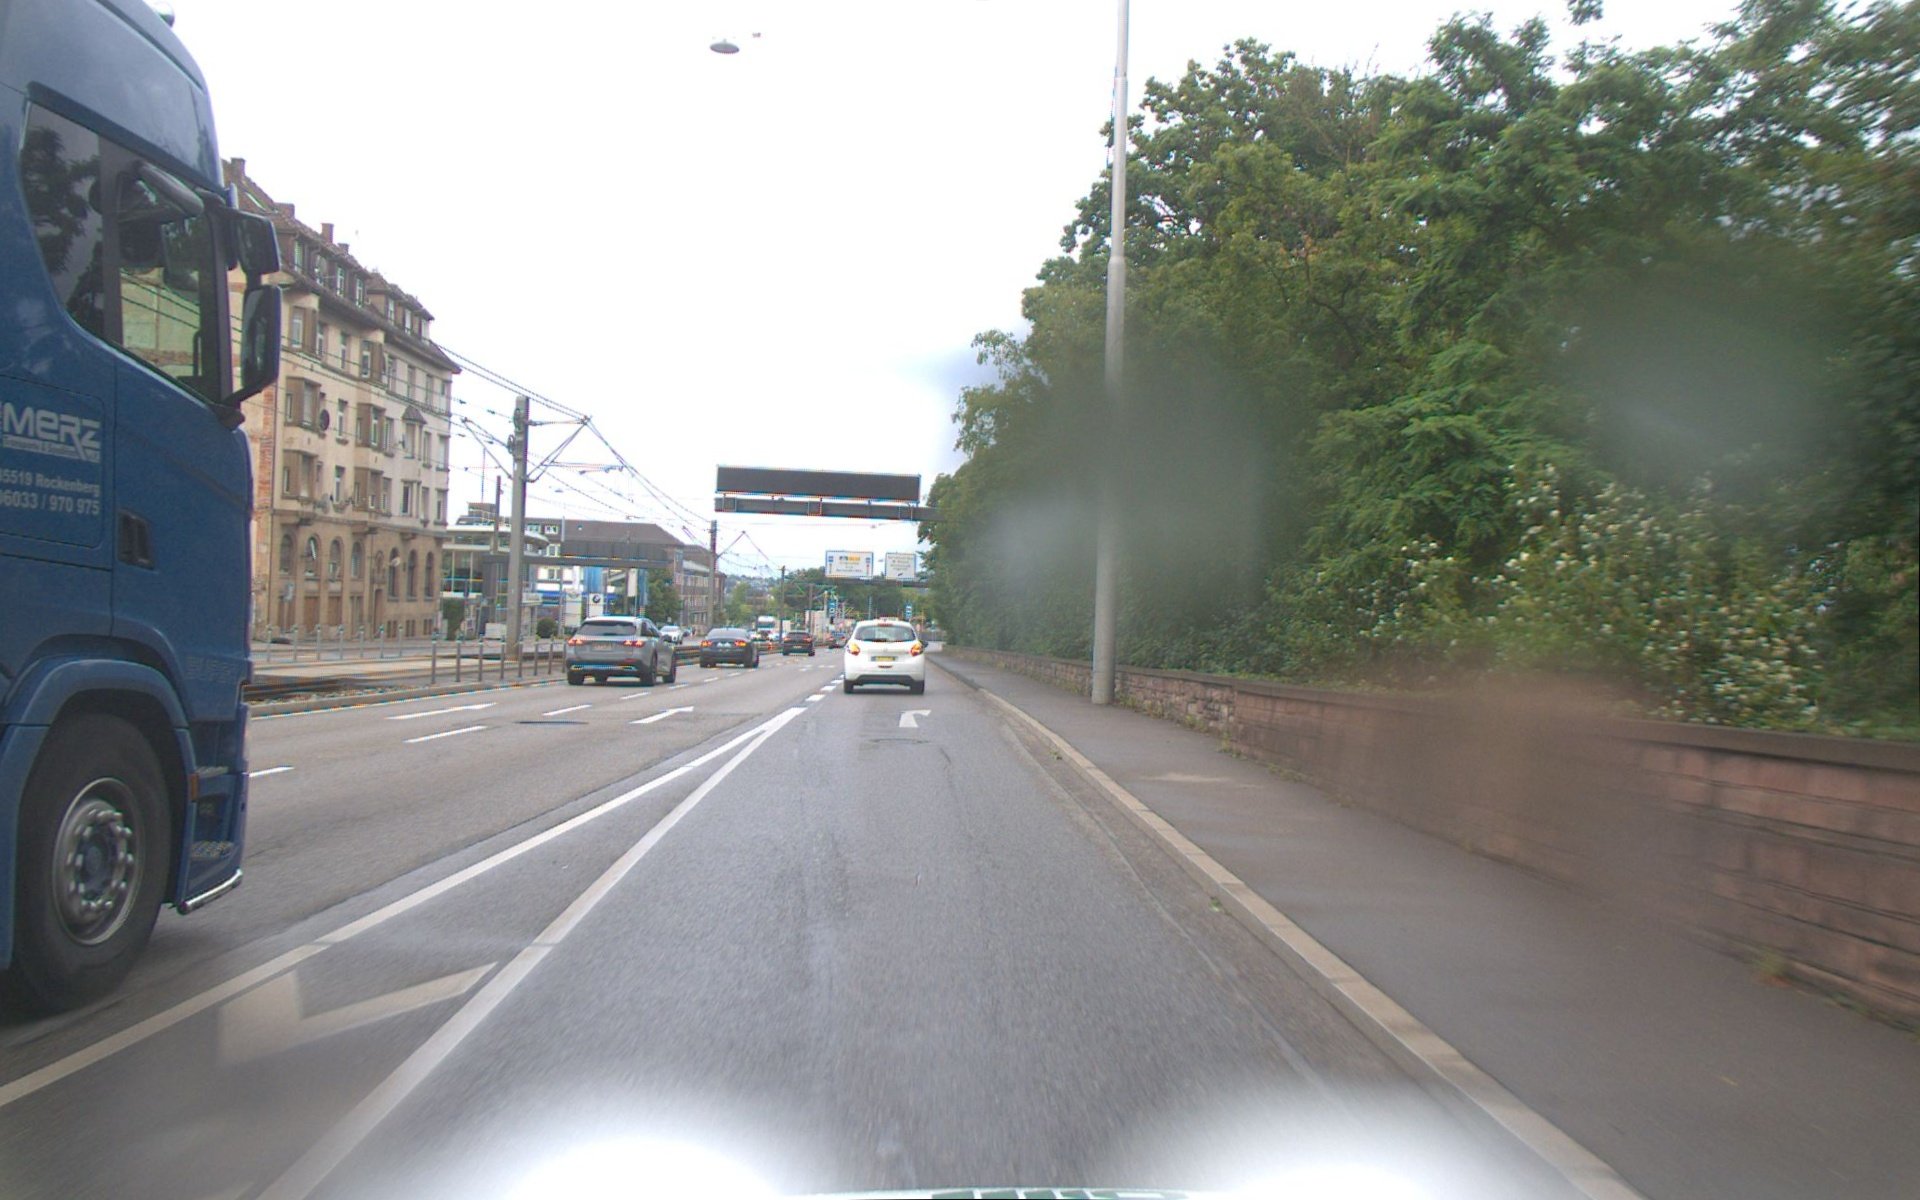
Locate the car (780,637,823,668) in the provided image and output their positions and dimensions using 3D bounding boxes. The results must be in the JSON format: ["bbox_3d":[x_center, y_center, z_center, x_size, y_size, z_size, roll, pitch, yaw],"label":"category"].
[{"bbox_3d":[-9.284,3.071,97.093,1.953,1.603,4.000,5,-2,1],"label":"car"}]

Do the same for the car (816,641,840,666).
[{"bbox_3d":[-12.071,4.927,151.540,1.954,2.049,3.997,3,-5,-2],"label":"car"}]

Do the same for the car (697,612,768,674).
[{"bbox_3d":[-7.979,1.473,58.246,1.685,1.924,3.538,2,2,5],"label":"car"}]

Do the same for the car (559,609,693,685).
[{"bbox_3d":[-7.370,1.063,36.918,1.782,1.593,4.094,0,-2,6],"label":"car"}]

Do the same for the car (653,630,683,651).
[{"bbox_3d":[-26.046,3.623,147.657,1.954,1.691,3.997,3,-3,-2],"label":"car"}]

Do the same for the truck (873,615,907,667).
[{"bbox_3d":[-8.601,5.138,204.127,3.394,5.496,12.047,3,-5,0],"label":"truck"}]

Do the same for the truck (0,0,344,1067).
[{"bbox_3d":[-4.343,-0.722,4.240,2.705,4.271,6.785,1,-1,2],"label":"truck"}]

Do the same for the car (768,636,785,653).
[{"bbox_3d":[-26.601,6.470,239.800,1.954,2.049,3.997,3,-5,-2],"label":"car"}]

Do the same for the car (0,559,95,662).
[{"bbox_3d":[-21.325,0.202,36.019,1.952,2.155,5.111,3,-3,3],"label":"car"}]

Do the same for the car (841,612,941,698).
[{"bbox_3d":[-1.510,1.109,34.828,1.917,1.513,3.997,3,1,-4],"label":"car"}]
